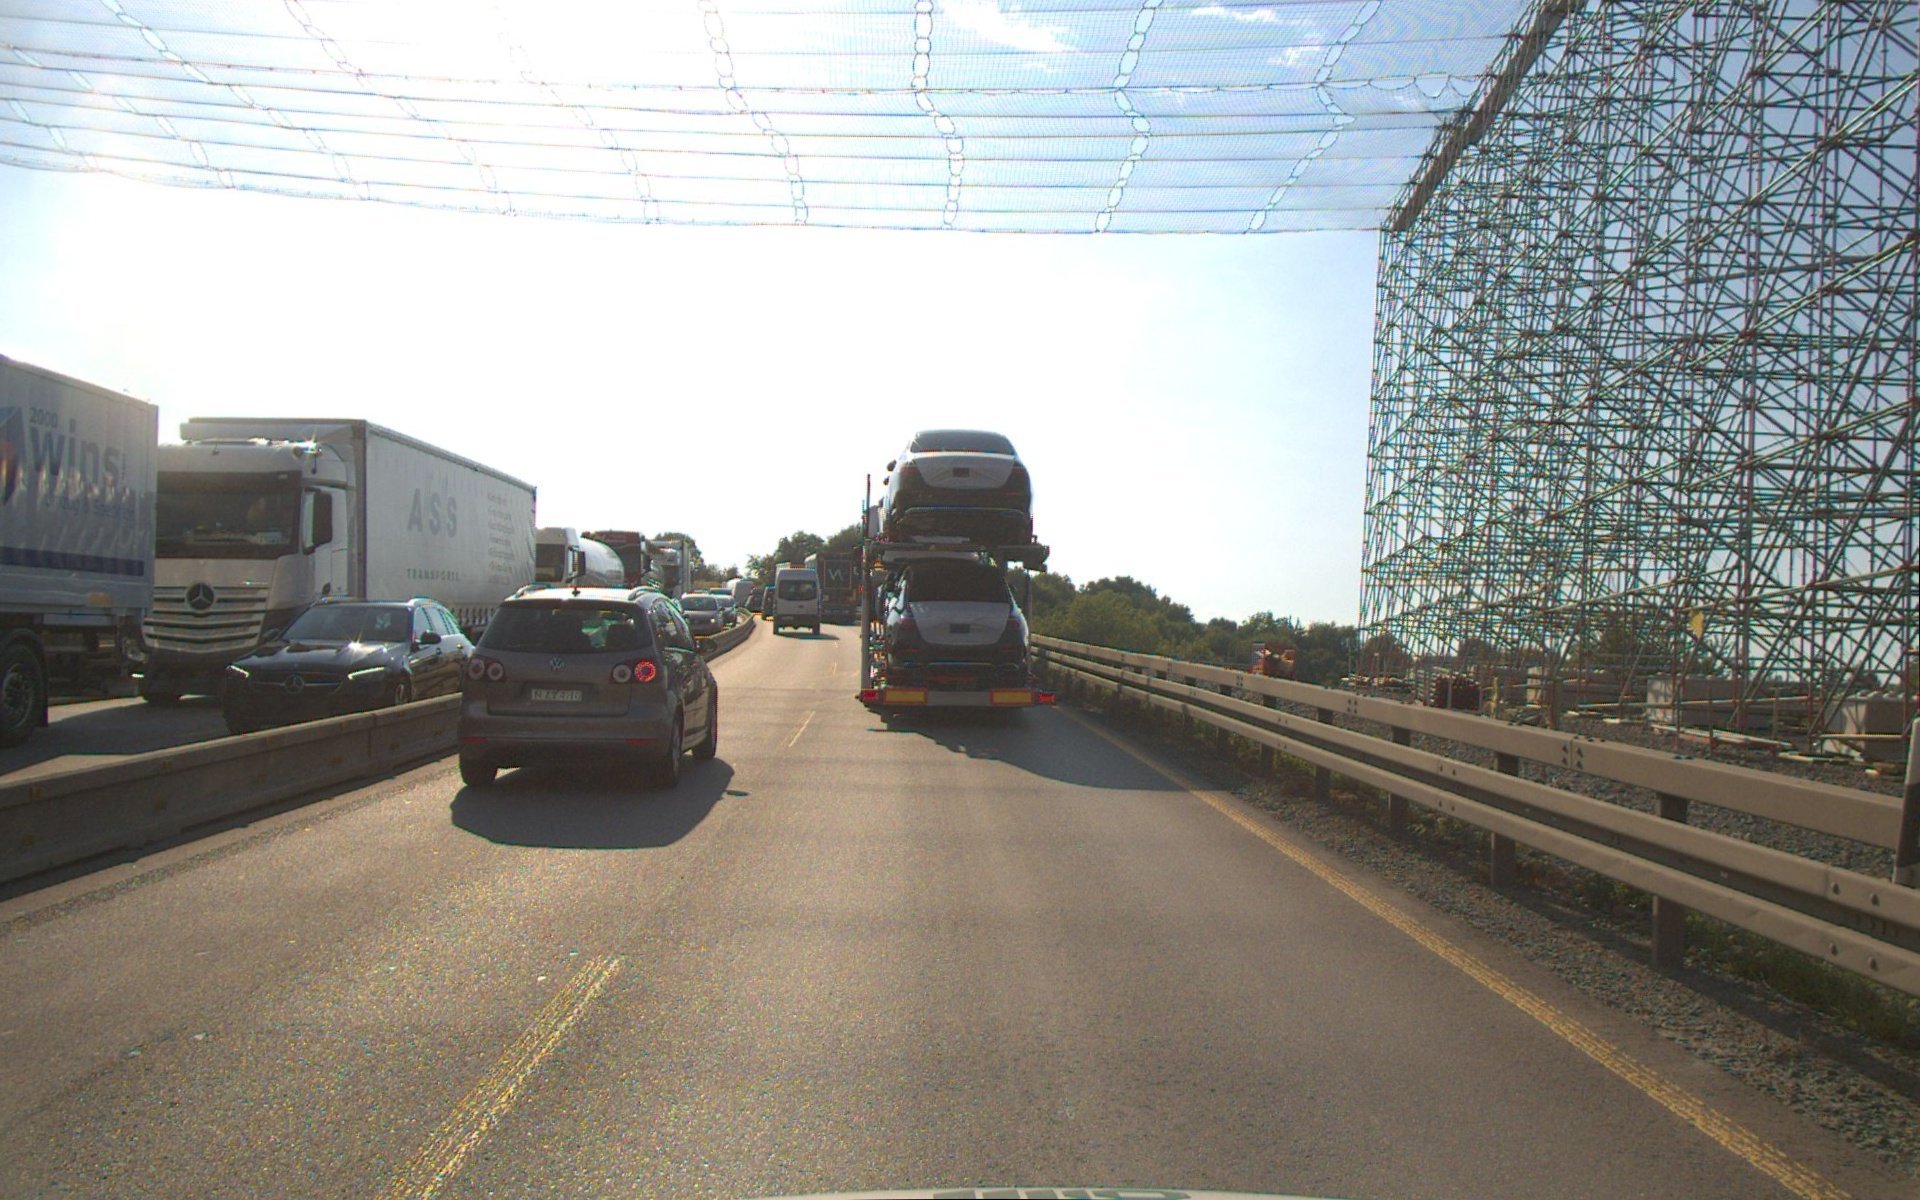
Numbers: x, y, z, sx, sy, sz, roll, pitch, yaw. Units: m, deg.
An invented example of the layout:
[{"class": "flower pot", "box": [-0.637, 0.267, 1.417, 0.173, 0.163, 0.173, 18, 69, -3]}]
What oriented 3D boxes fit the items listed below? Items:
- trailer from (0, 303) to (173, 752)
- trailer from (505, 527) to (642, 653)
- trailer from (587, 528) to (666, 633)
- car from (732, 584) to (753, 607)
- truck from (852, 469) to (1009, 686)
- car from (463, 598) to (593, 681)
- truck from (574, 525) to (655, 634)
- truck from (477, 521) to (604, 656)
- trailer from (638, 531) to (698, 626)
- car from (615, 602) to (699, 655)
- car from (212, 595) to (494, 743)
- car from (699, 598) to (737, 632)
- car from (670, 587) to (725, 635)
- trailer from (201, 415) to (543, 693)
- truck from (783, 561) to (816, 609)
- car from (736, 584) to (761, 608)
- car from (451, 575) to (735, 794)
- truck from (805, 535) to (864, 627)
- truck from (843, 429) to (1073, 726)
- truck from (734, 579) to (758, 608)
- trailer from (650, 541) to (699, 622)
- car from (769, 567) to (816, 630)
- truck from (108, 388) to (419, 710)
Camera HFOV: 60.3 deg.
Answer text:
[{"class": "trailer", "box": [-9.884, -0.687, 11.955, 2.617, 4.086, 13.324, 1, 0, -3]}, {"class": "trailer", "box": [-11.848, -0.249, 51.752, 2.261, 3.420, 12.041, 1, 0, -4]}, {"class": "trailer", "box": [-13.539, -0.708, 67.841, 2.263, 3.856, 12.032, 1, 0, -7]}, {"class": "car", "box": [-19.146, -0.388, 145.579, 1.600, 2.049, 3.990, 1, 0, -10]}, {"class": "truck", "box": [-0.786, -0.374, 34.789, 2.781, 3.858, 9.980, 1, 0, -3]}, {"class": "car", "box": [-7.826, 0.690, 30.279, 1.575, 1.400, 3.897, 1, 0, -4]}, {"class": "truck", "box": [-12.900, -0.729, 62.104, 2.386, 3.851, 5.609, 1, 0, -7]}, {"class": "truck", "box": [-11.378, -0.290, 45.254, 2.366, 3.429, 5.612, 1, 0, -4]}, {"class": "trailer", "box": [-14.504, -0.968, 82.630, 2.429, 4.404, 10.492, 1, 0, -8]}, {"class": "car", "box": [-8.557, 0.785, 46.996, 1.757, 1.422, 4.241, 1, 0, -2]}, {"class": "car", "box": [-6.804, 0.707, 19.092, 1.742, 1.475, 4.660, 1, 0, -3]}, {"class": "car", "box": [-10.797, 0.674, 73.979, 1.596, 1.451, 4.381, 1, 0, -7]}, {"class": "car", "box": [-9.265, 0.379, 58.590, 1.717, 1.614, 3.937, 1, 0, -6]}, {"class": "trailer", "box": [-10.394, -0.639, 31.316, 2.380, 4.032, 14.086, 1, 0, -4]}, {"class": "truck", "box": [-12.912, -1.164, 132.749, 2.482, 3.712, 8.893, 1, 0, -6]}, {"class": "car", "box": [-16.277, -0.266, 127.420, 1.791, 1.803, 3.994, 1, 0, -7]}, {"class": "car", "box": [-3.027, 0.645, 14.413, 1.657, 1.624, 3.998, 1, 0, -2]}, {"class": "truck", "box": [-7.827, -1.084, 101.873, 3.223, 5.328, 9.922, 1, 0, -6]}, {"class": "truck", "box": [-0.296, -0.245, 25.405, 2.743, 3.558, 10.598, 1, 0, -3]}, {"class": "truck", "box": [-24.064, -0.704, 185.706, 2.542, 3.226, 6.663, 1, 0, -9]}, {"class": "trailer", "box": [-15.839, -0.944, 92.104, 2.397, 4.262, 8.527, 1, 0, -8]}, {"class": "car", "box": [-7.052, -0.048, 69.418, 1.884, 2.536, 5.401, 1, 0, -6]}, {"class": "truck", "box": [-9.922, -0.640, 24.205, 2.425, 4.116, 5.612, 1, 0, -4]}]
